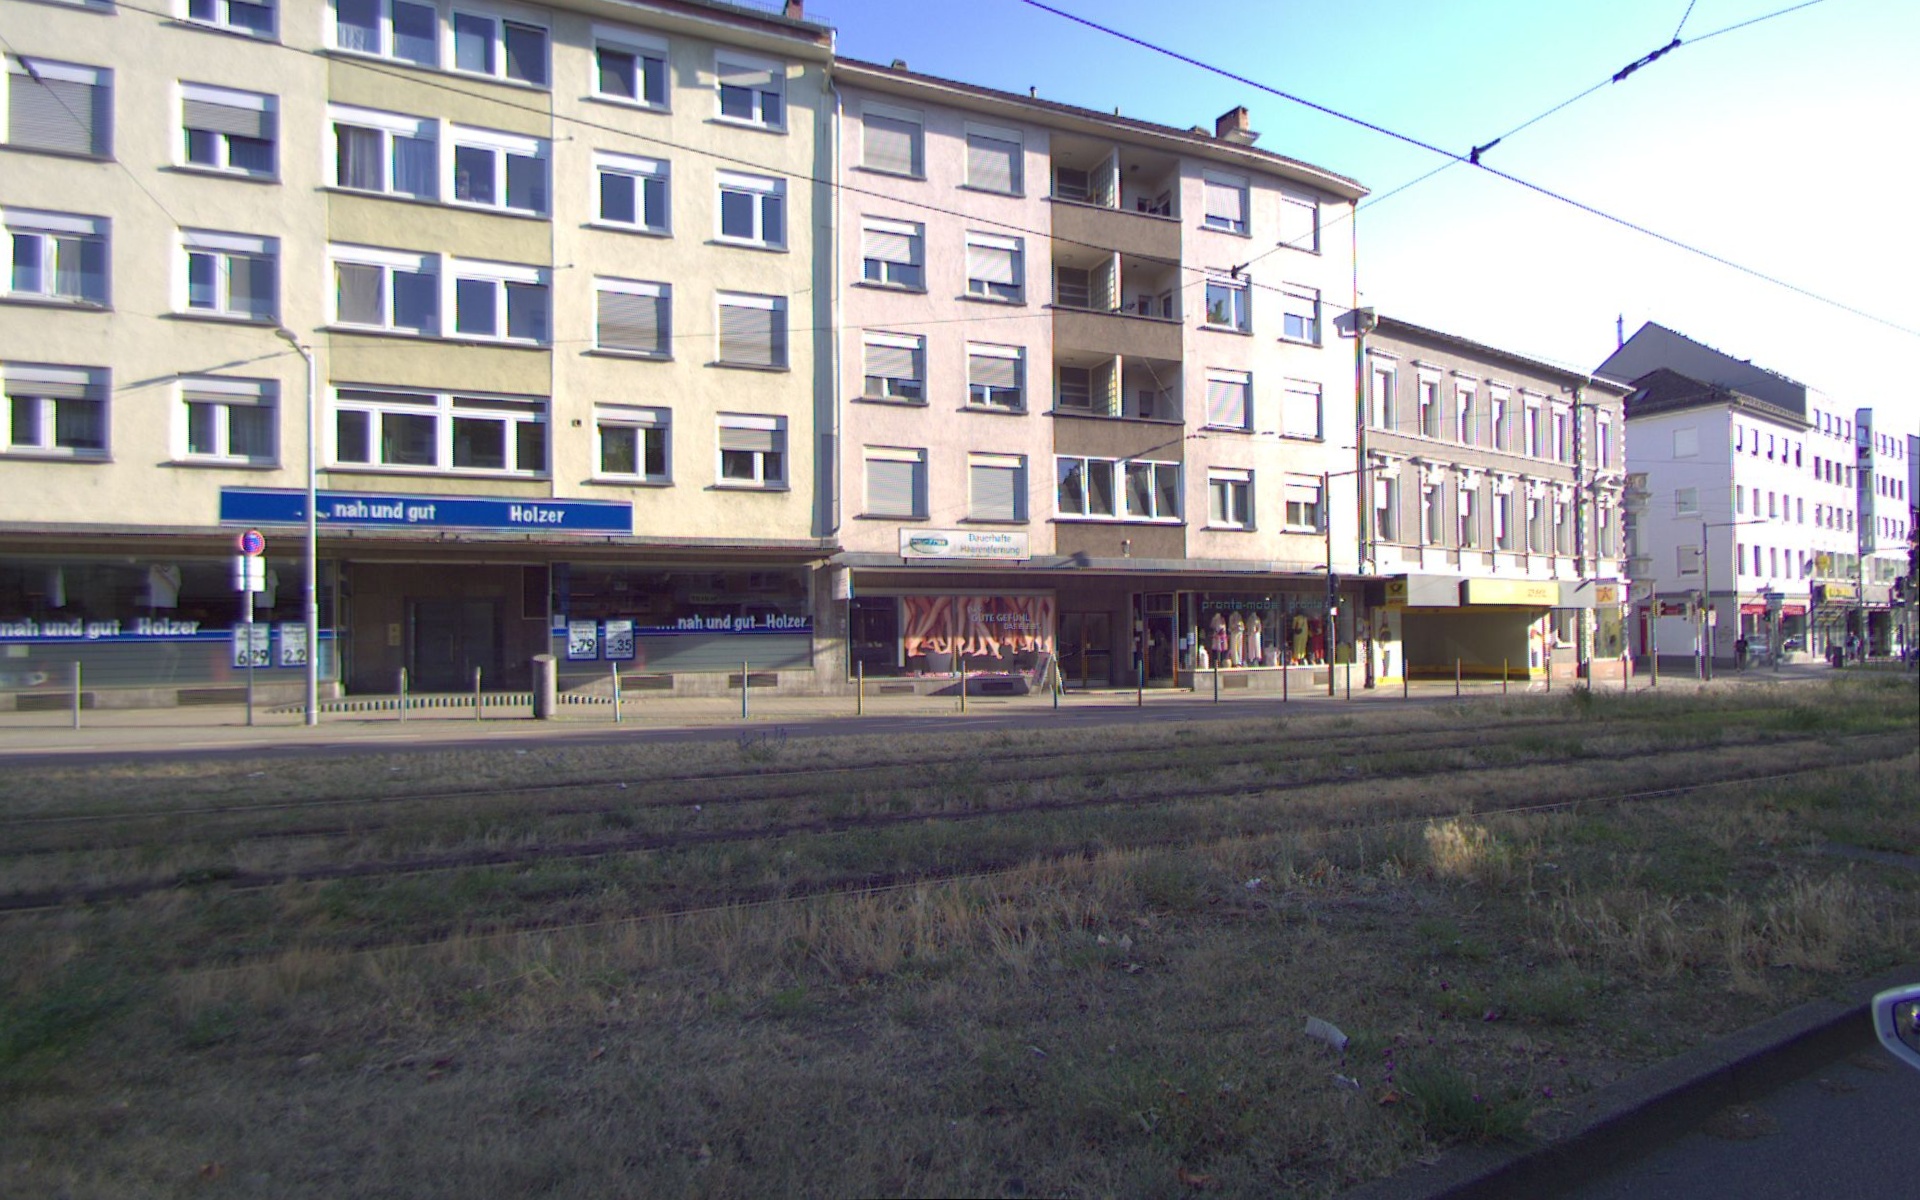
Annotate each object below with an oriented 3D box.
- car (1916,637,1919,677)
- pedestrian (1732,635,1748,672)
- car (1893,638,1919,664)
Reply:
[{"bbox_3d":[39.349,2.211,39.381,3.433,1.528,1.716,1,-4,-29],"label":"car"},{"bbox_3d":[36.822,2.502,47.429,0.501,1.736,0.424,1,-2,-26],"label":"pedestrian"},{"bbox_3d":[55.356,2.830,56.009,4.466,1.431,1.999,-1,-2,24],"label":"car"}]
